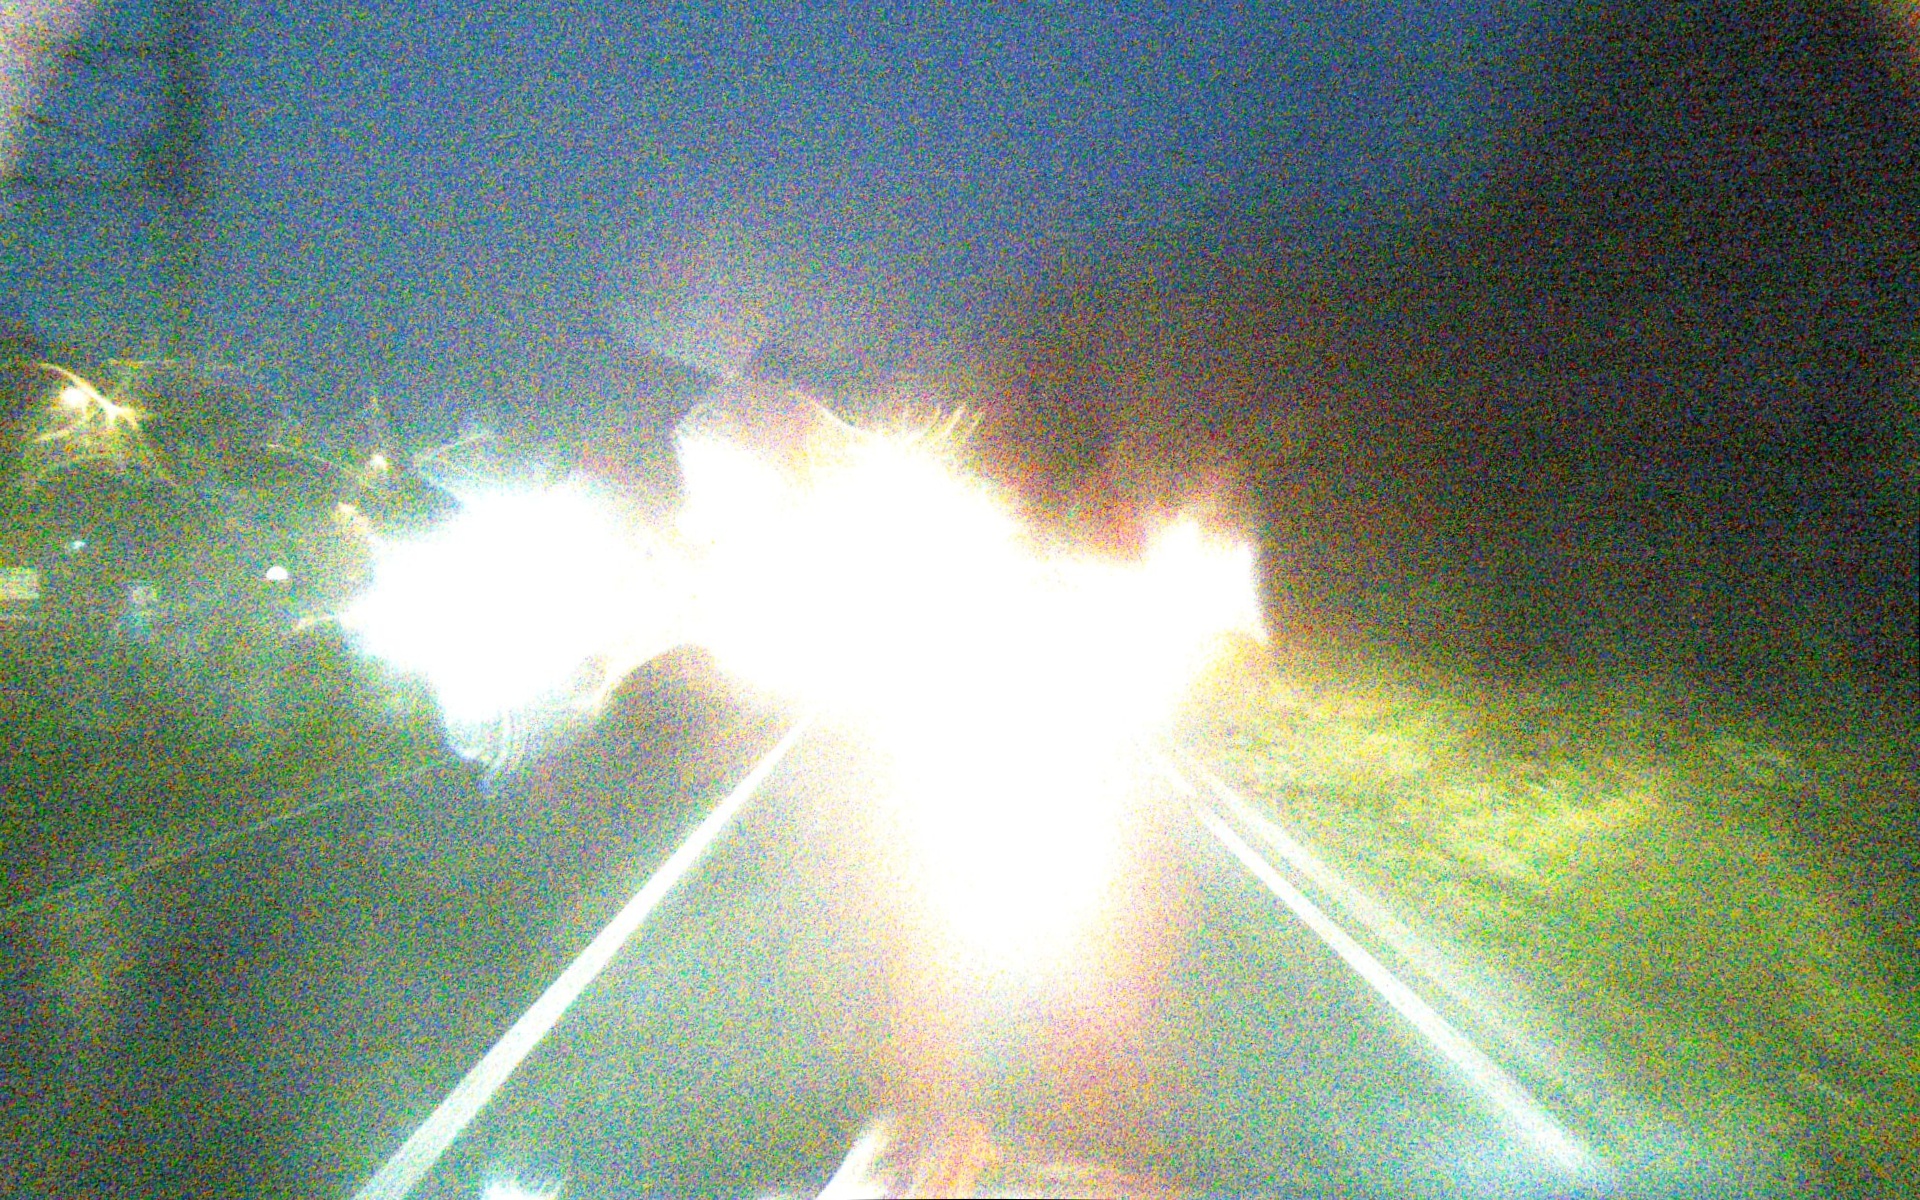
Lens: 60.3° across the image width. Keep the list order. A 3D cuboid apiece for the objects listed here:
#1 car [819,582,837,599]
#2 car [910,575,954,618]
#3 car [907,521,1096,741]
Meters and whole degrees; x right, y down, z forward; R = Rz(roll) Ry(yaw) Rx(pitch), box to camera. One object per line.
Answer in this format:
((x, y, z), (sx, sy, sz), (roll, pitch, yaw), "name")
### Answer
((-13.185, -0.976, 165.330), (1.766, 1.616, 4.027), (-1, 0, -4), "car")
((-1.290, -0.190, 75.328), (1.748, 1.813, 4.433), (-2, 1, -4), "car")
((0.500, 0.261, 18.261), (1.754, 2.057, 4.581), (-2, 1, 2), "car")
